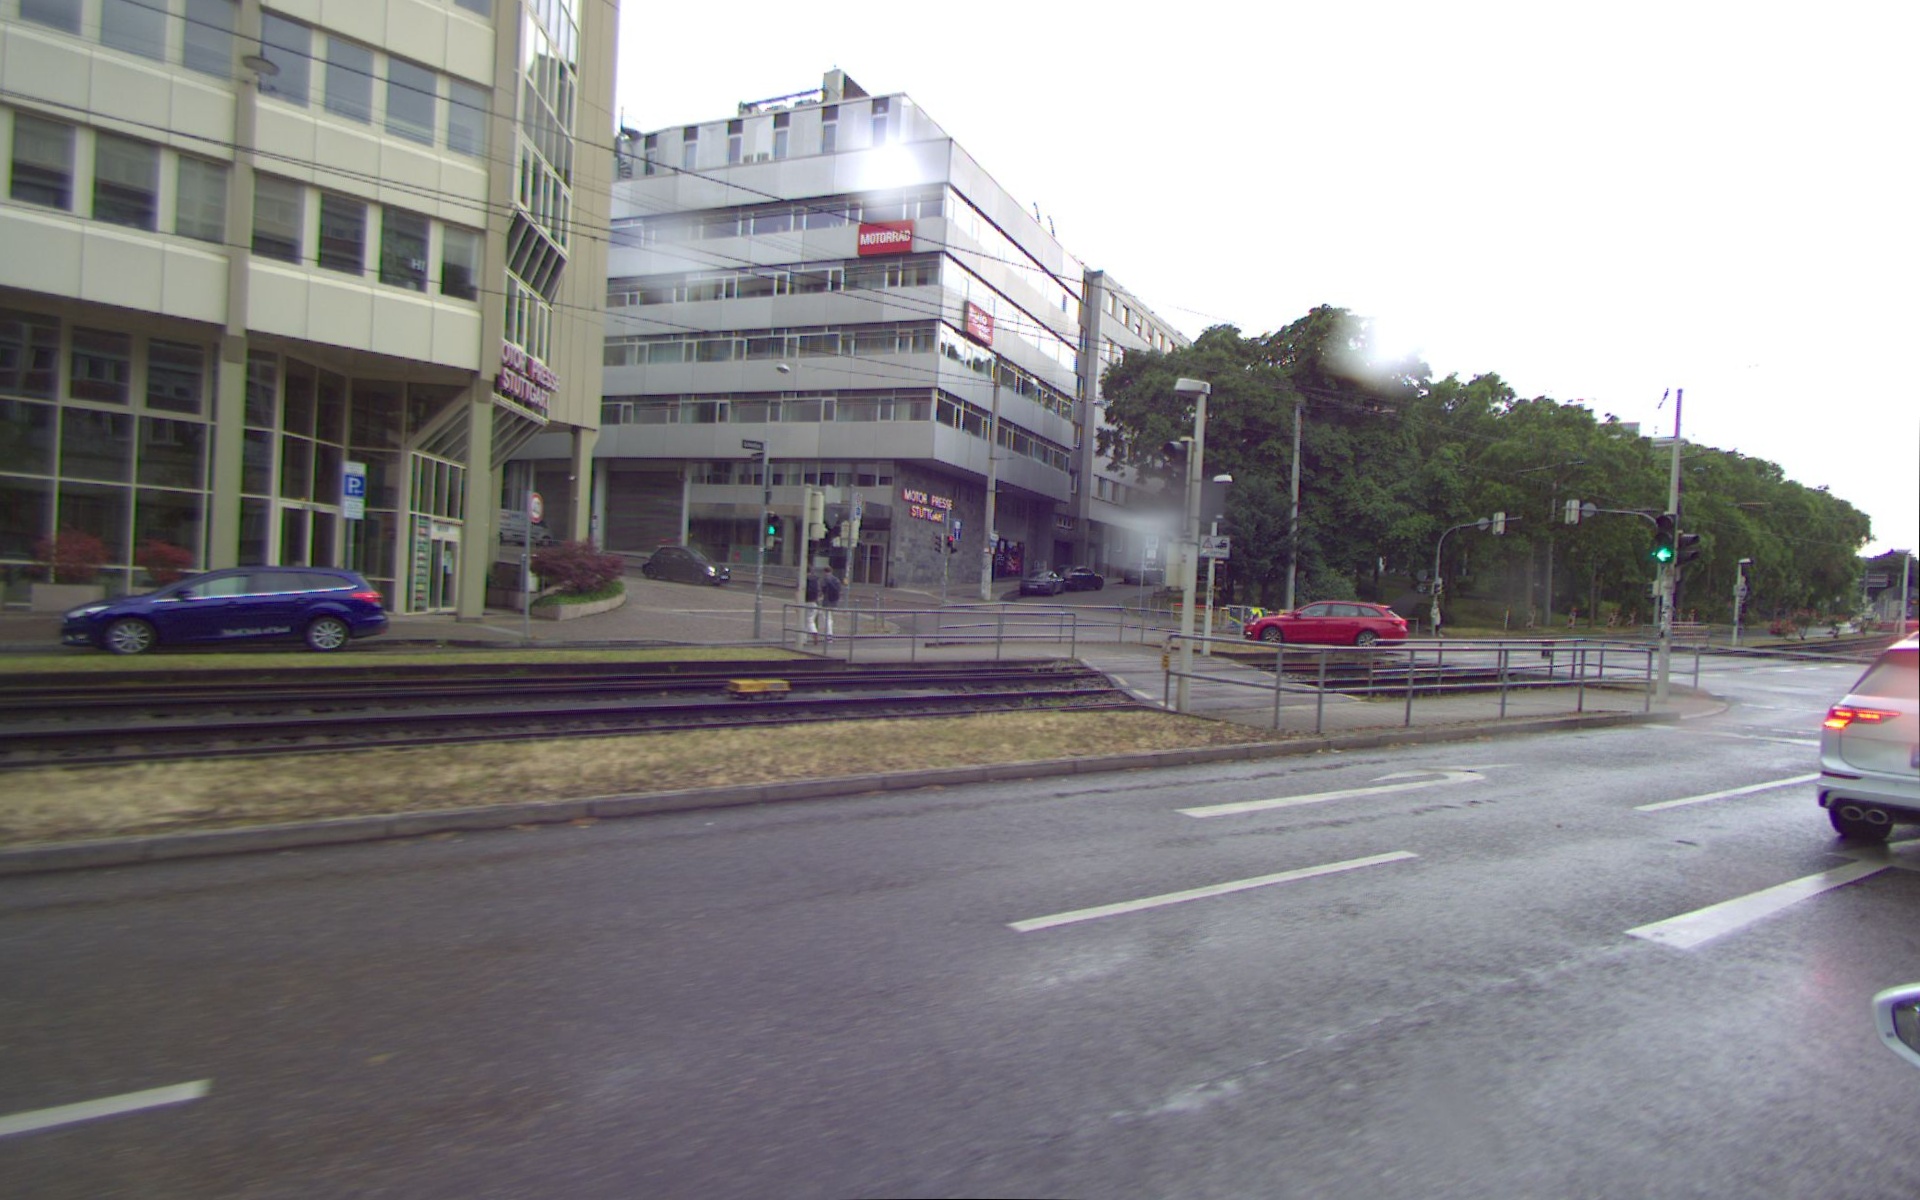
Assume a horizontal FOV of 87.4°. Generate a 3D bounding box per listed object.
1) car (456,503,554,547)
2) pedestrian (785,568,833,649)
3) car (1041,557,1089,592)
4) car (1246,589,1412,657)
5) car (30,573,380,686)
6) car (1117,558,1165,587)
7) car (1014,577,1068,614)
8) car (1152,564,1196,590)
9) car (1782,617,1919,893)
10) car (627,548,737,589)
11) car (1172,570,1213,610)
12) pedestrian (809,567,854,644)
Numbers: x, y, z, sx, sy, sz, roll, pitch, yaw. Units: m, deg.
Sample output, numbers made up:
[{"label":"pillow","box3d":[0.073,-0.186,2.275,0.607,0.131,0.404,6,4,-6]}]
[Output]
[{"label":"car","box3d":[-25.575,-4.210,56.642,1.962,2.040,4.832,5,2,25]},{"label":"pedestrian","box3d":[-3.526,0.199,23.415,0.630,1.811,0.808,5,3,35]},{"label":"car","box3d":[6.326,-1.581,60.193,1.960,1.818,3.999,5,5,18]},{"label":"car","box3d":[10.921,0.638,29.742,4.335,1.662,1.984,4,1,27]},{"label":"car","box3d":[-12.648,0.496,17.119,4.511,1.603,1.977,3,2,-39]},{"label":"car","box3d":[12.742,-1.929,70.594,1.964,1.818,4.203,5,2,29]},{"label":"car","box3d":[4.513,-0.276,55.296,1.960,1.818,4.000,5,2,18]},{"label":"car","box3d":[16.655,-1.754,78.014,1.965,1.818,4.201,5,2,31]},{"label":"car","box3d":[7.530,0.969,6.842,4.205,1.597,1.670,1,1,-32]},{"label":"car","box3d":[-11.486,-1.291,41.569,3.920,1.383,1.831,5,2,15]},{"label":"car","box3d":[19.234,-0.792,82.963,1.965,3.038,4.201,5,2,31]},{"label":"pedestrian","box3d":[-3.134,0.139,24.513,0.630,1.811,0.808,5,3,35]}]
